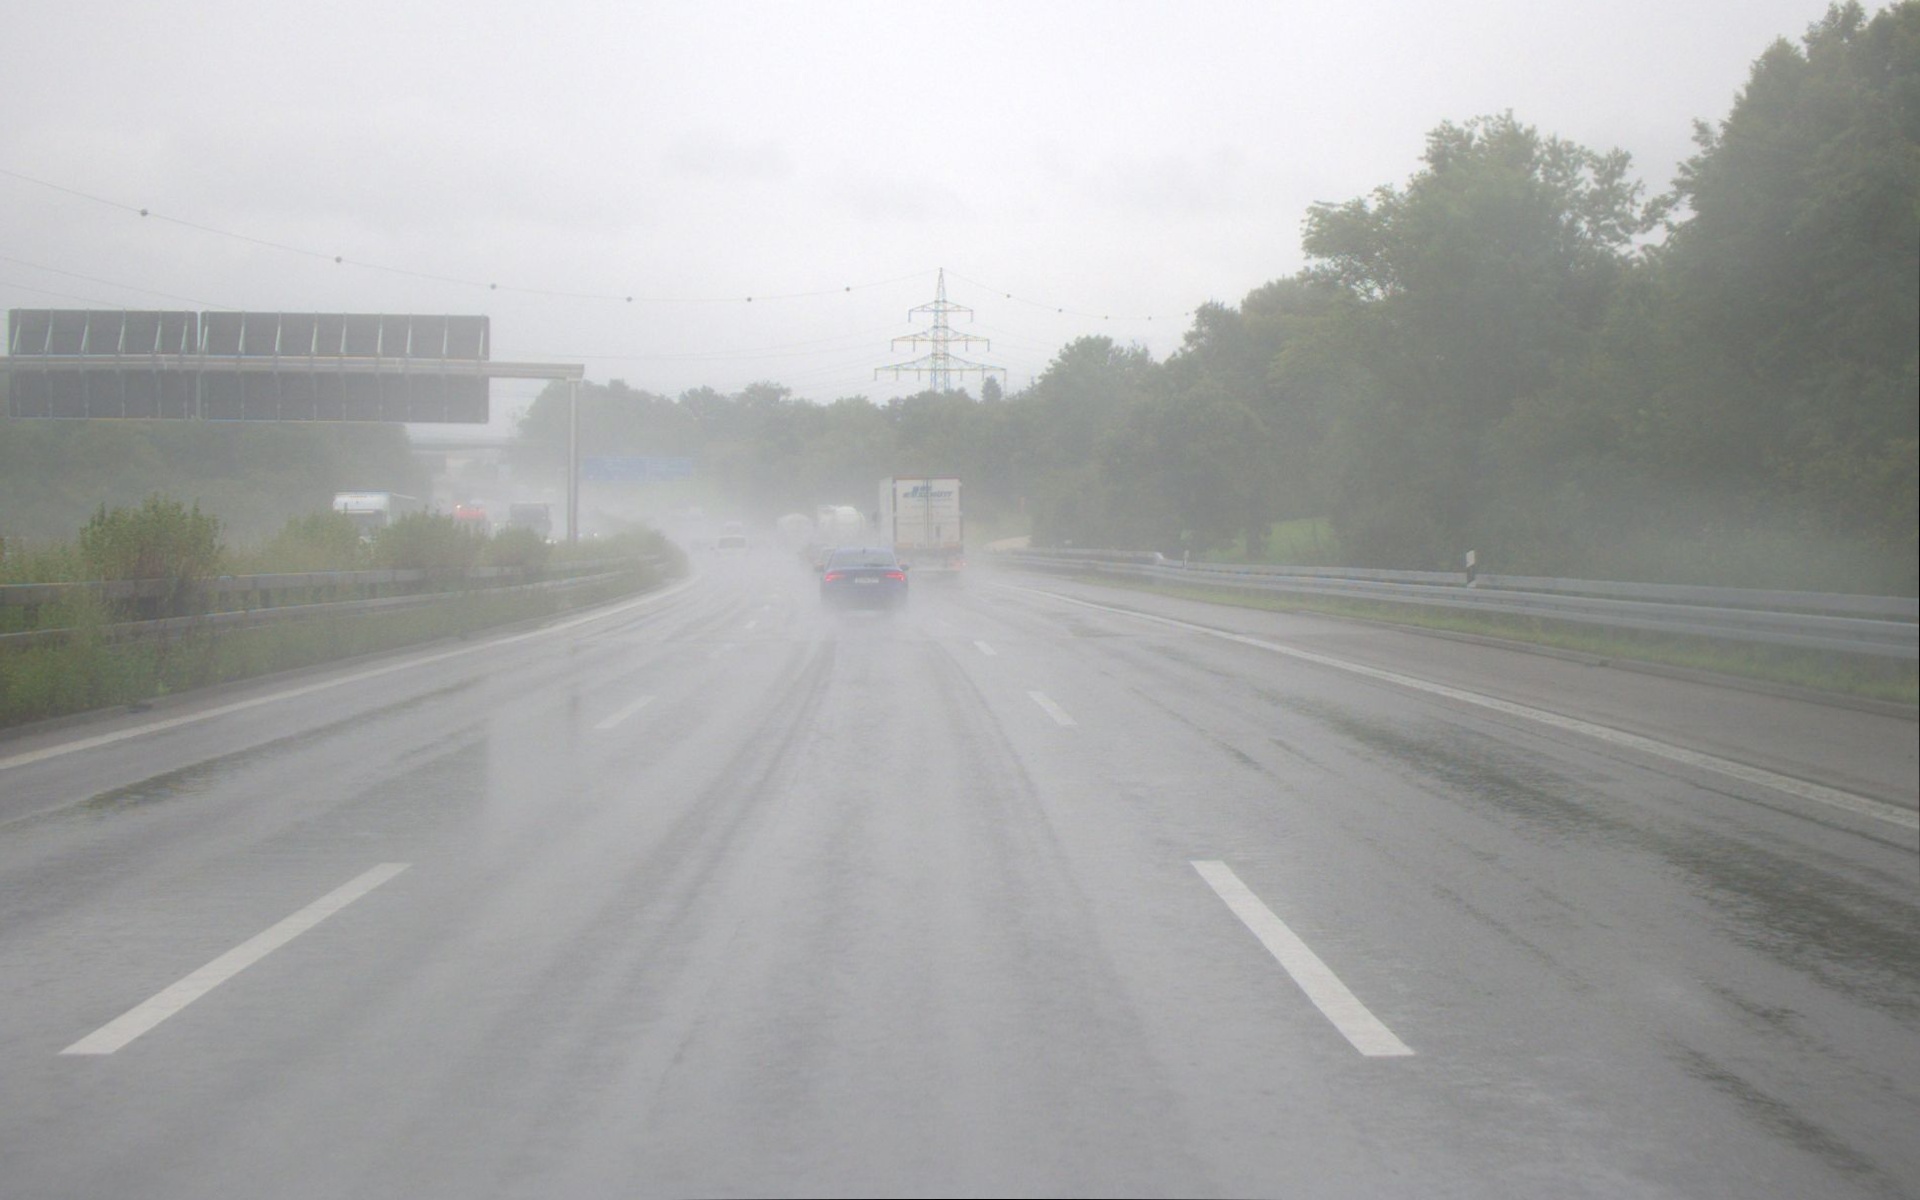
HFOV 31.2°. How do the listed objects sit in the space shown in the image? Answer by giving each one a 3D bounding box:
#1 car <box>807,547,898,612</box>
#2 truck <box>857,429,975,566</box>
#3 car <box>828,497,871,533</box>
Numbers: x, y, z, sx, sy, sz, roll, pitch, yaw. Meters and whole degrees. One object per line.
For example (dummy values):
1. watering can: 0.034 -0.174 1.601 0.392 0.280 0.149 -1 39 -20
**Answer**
1. car: -2.189 -0.440 71.000 1.748 1.208 4.000 2 1 -1
2. truck: -1.868 -4.075 136.423 4.256 4.955 17.343 -1 2 -1
3. car: -7.353 -5.659 227.689 2.392 2.264 5.004 1 2 -7
